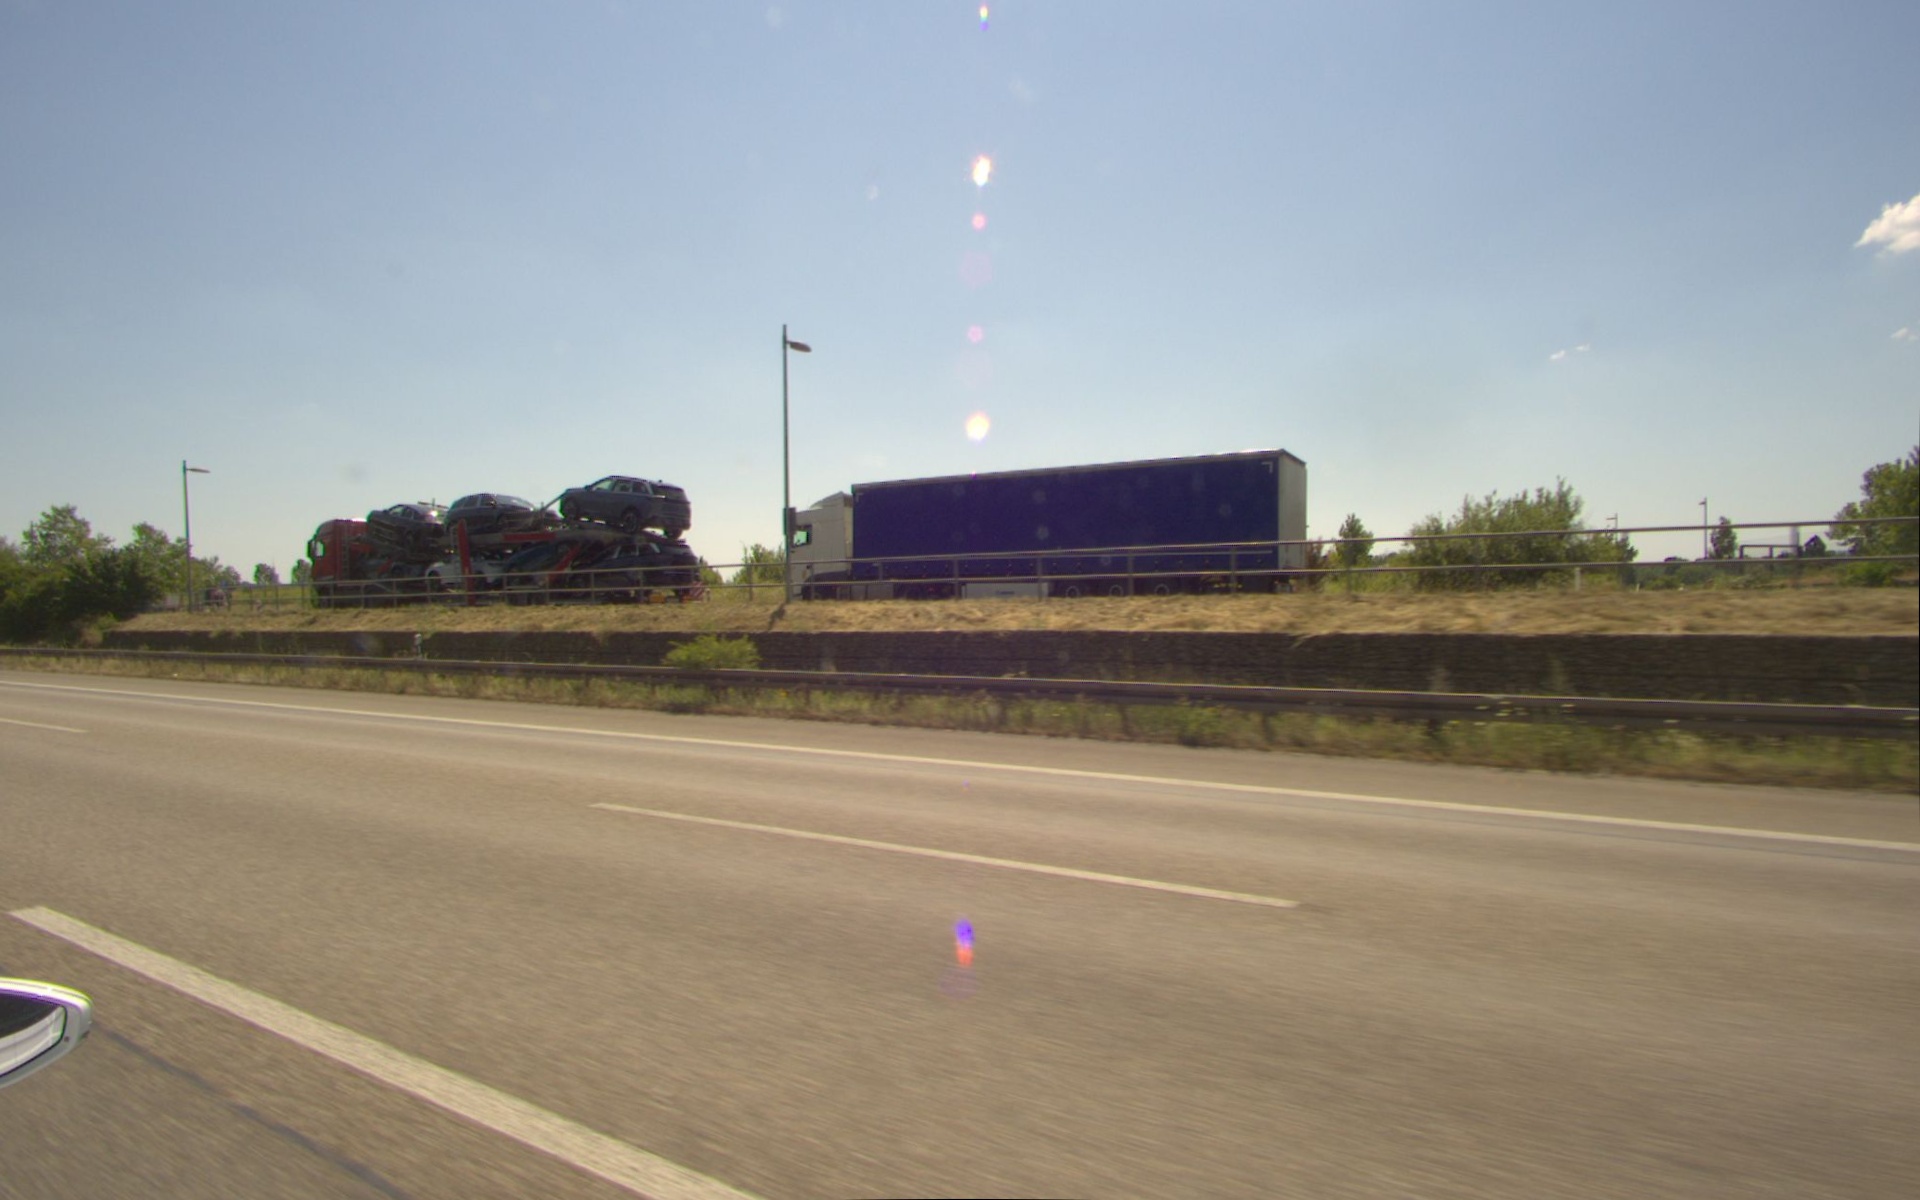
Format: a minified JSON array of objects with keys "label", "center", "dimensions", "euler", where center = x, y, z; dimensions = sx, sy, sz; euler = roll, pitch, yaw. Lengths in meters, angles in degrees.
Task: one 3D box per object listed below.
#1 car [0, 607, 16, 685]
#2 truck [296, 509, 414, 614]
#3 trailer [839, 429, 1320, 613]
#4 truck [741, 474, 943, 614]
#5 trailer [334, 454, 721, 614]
[{"label":"car","center":[-25.083,1.140,24.462],"dimensions":[4.118,1.862,1.946],"euler":[-1,0,32]},{"label":"truck","center":[-24.341,-1.448,40.294],"dimensions":[3.943,3.876,2.598],"euler":[-1,-2,32]},{"label":"trailer","center":[2.843,-1.821,29.126],"dimensions":[14.061,4.135,3.046],"euler":[-1,-2,34]},{"label":"truck","center":[-4.023,-1.682,33.702],"dimensions":[6.309,4.135,3.046],"euler":[-1,-2,33]},{"label":"trailer","center":[-15.746,-1.822,34.793],"dimensions":[18.160,4.312,2.601],"euler":[-1,-2,33]}]
